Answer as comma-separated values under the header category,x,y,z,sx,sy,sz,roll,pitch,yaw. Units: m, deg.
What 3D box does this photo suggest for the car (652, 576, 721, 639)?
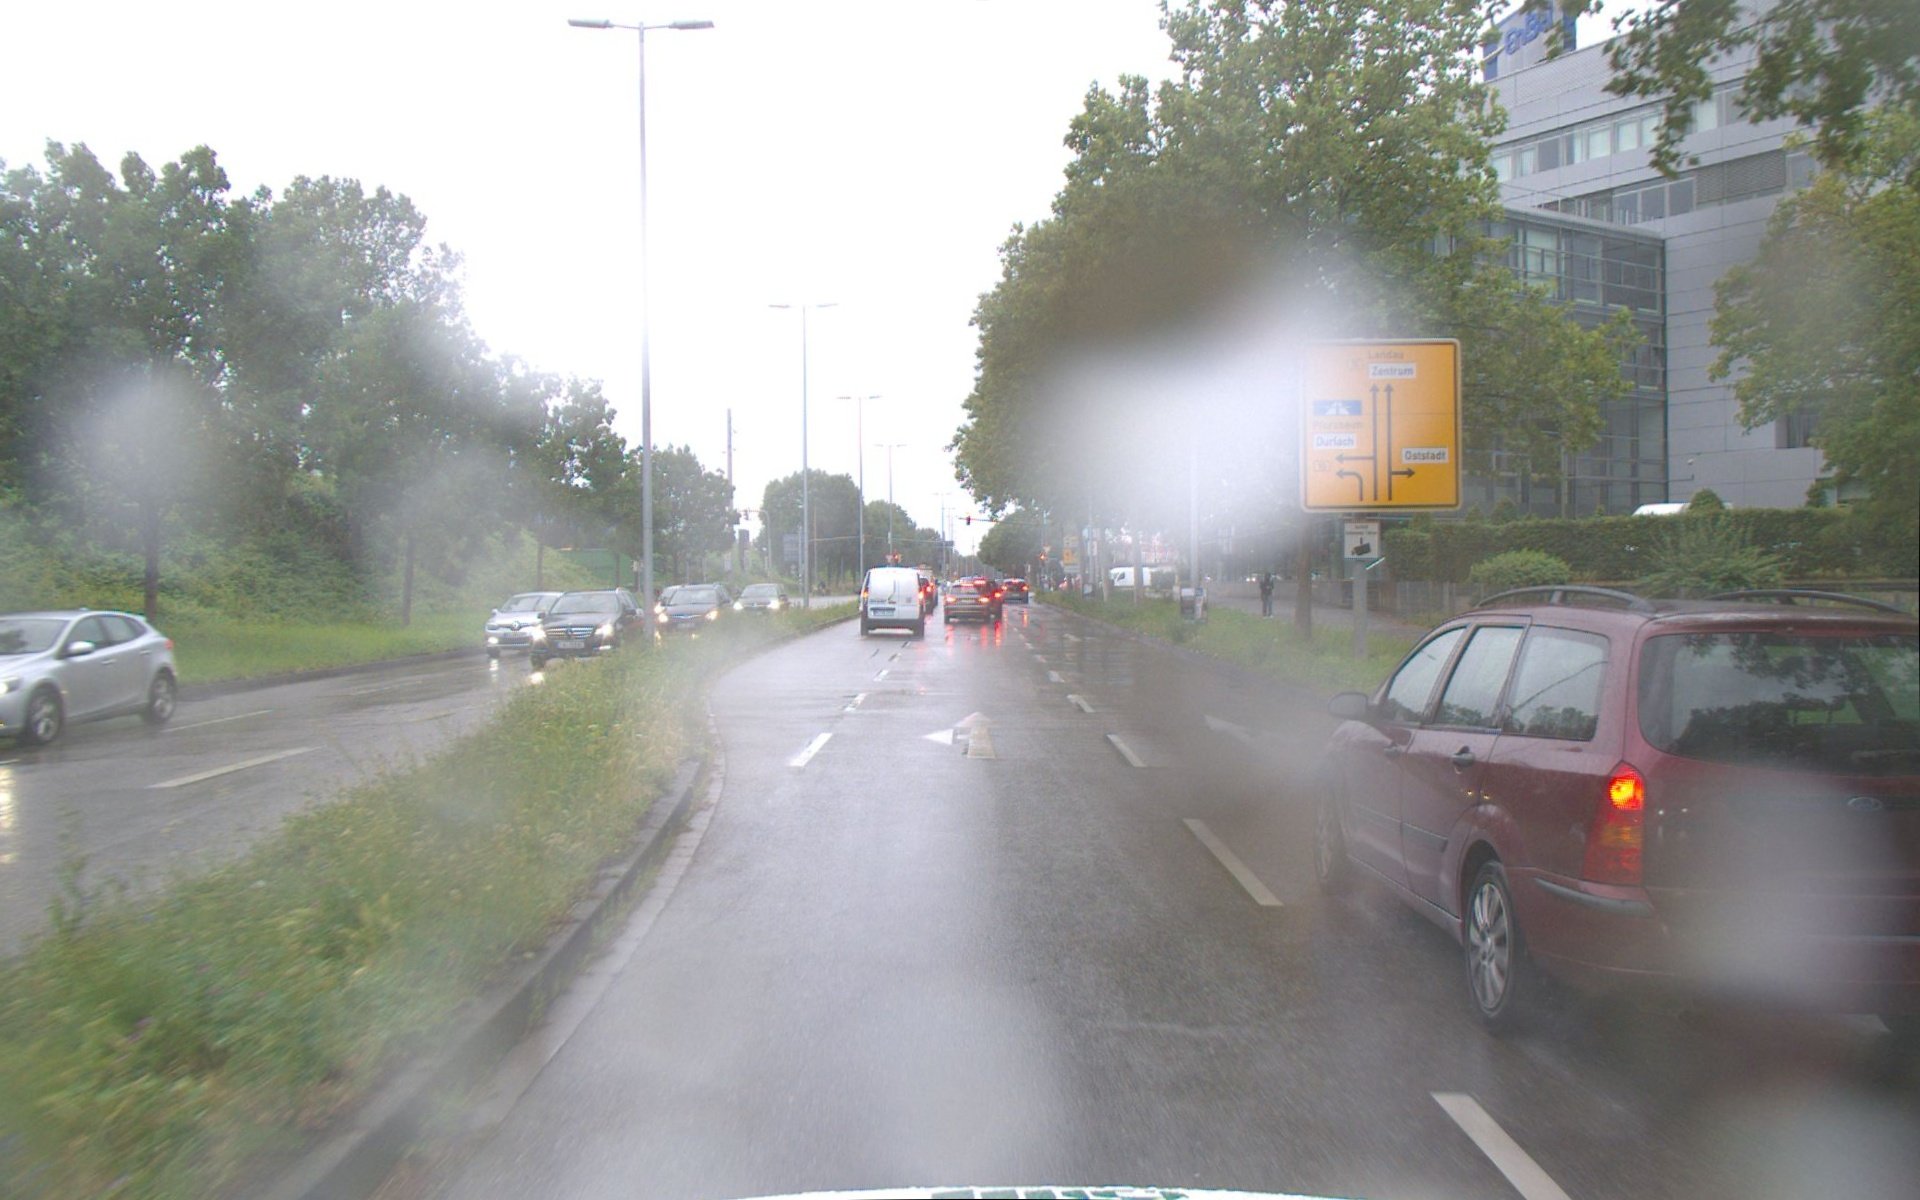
category,x,y,z,sx,sy,sz,roll,pitch,yaw
car,-7.732,0.166,46.806,1.790,1.602,4.351,-1,2,-9

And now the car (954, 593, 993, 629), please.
category,x,y,z,sx,sy,sz,roll,pitch,yaw
car,0.603,0.464,73.595,1.676,1.470,4.000,0,1,0

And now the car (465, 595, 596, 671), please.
category,x,y,z,sx,sy,sz,roll,pitch,yaw
car,-10.536,0.766,40.946,1.870,1.601,4.709,-4,1,0

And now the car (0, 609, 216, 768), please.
category,x,y,z,sx,sy,sz,roll,pitch,yaw
car,-10.464,0.939,18.947,1.798,1.528,4.440,-2,1,0

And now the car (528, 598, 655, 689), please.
category,x,y,z,sx,sy,sz,roll,pitch,yaw
car,-7.336,0.815,33.358,1.872,1.601,4.703,-3,1,-6

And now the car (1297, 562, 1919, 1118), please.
category,x,y,z,sx,sy,sz,roll,pitch,yaw
car,2.714,0.672,6.728,1.802,1.563,4.111,0,0,-1

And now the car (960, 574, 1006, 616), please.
category,x,y,z,sx,sy,sz,roll,pitch,yaw
car,0.898,-0.233,65.547,1.674,1.577,4.000,0,1,-1

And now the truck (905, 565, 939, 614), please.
category,x,y,z,sx,sy,sz,roll,pitch,yaw
truck,-1.980,-0.547,86.365,1.721,2.509,3.999,0,0,-1

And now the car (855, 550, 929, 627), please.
category,x,y,z,sx,sy,sz,roll,pitch,yaw
car,-1.829,-0.269,45.658,1.953,2.049,3.999,0,-1,-1

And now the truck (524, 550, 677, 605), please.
category,x,y,z,sx,sy,sz,roll,pitch,yaw
truck,-24.366,-1.450,112.555,10.031,3.512,2.624,1,-1,-37

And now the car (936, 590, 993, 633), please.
category,x,y,z,sx,sy,sz,roll,pitch,yaw
car,0.122,0.373,59.171,1.953,1.477,3.999,0,0,-1

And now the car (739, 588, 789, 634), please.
category,x,y,z,sx,sy,sz,roll,pitch,yaw
car,-7.476,0.389,63.262,1.686,1.646,4.342,-1,0,-4
